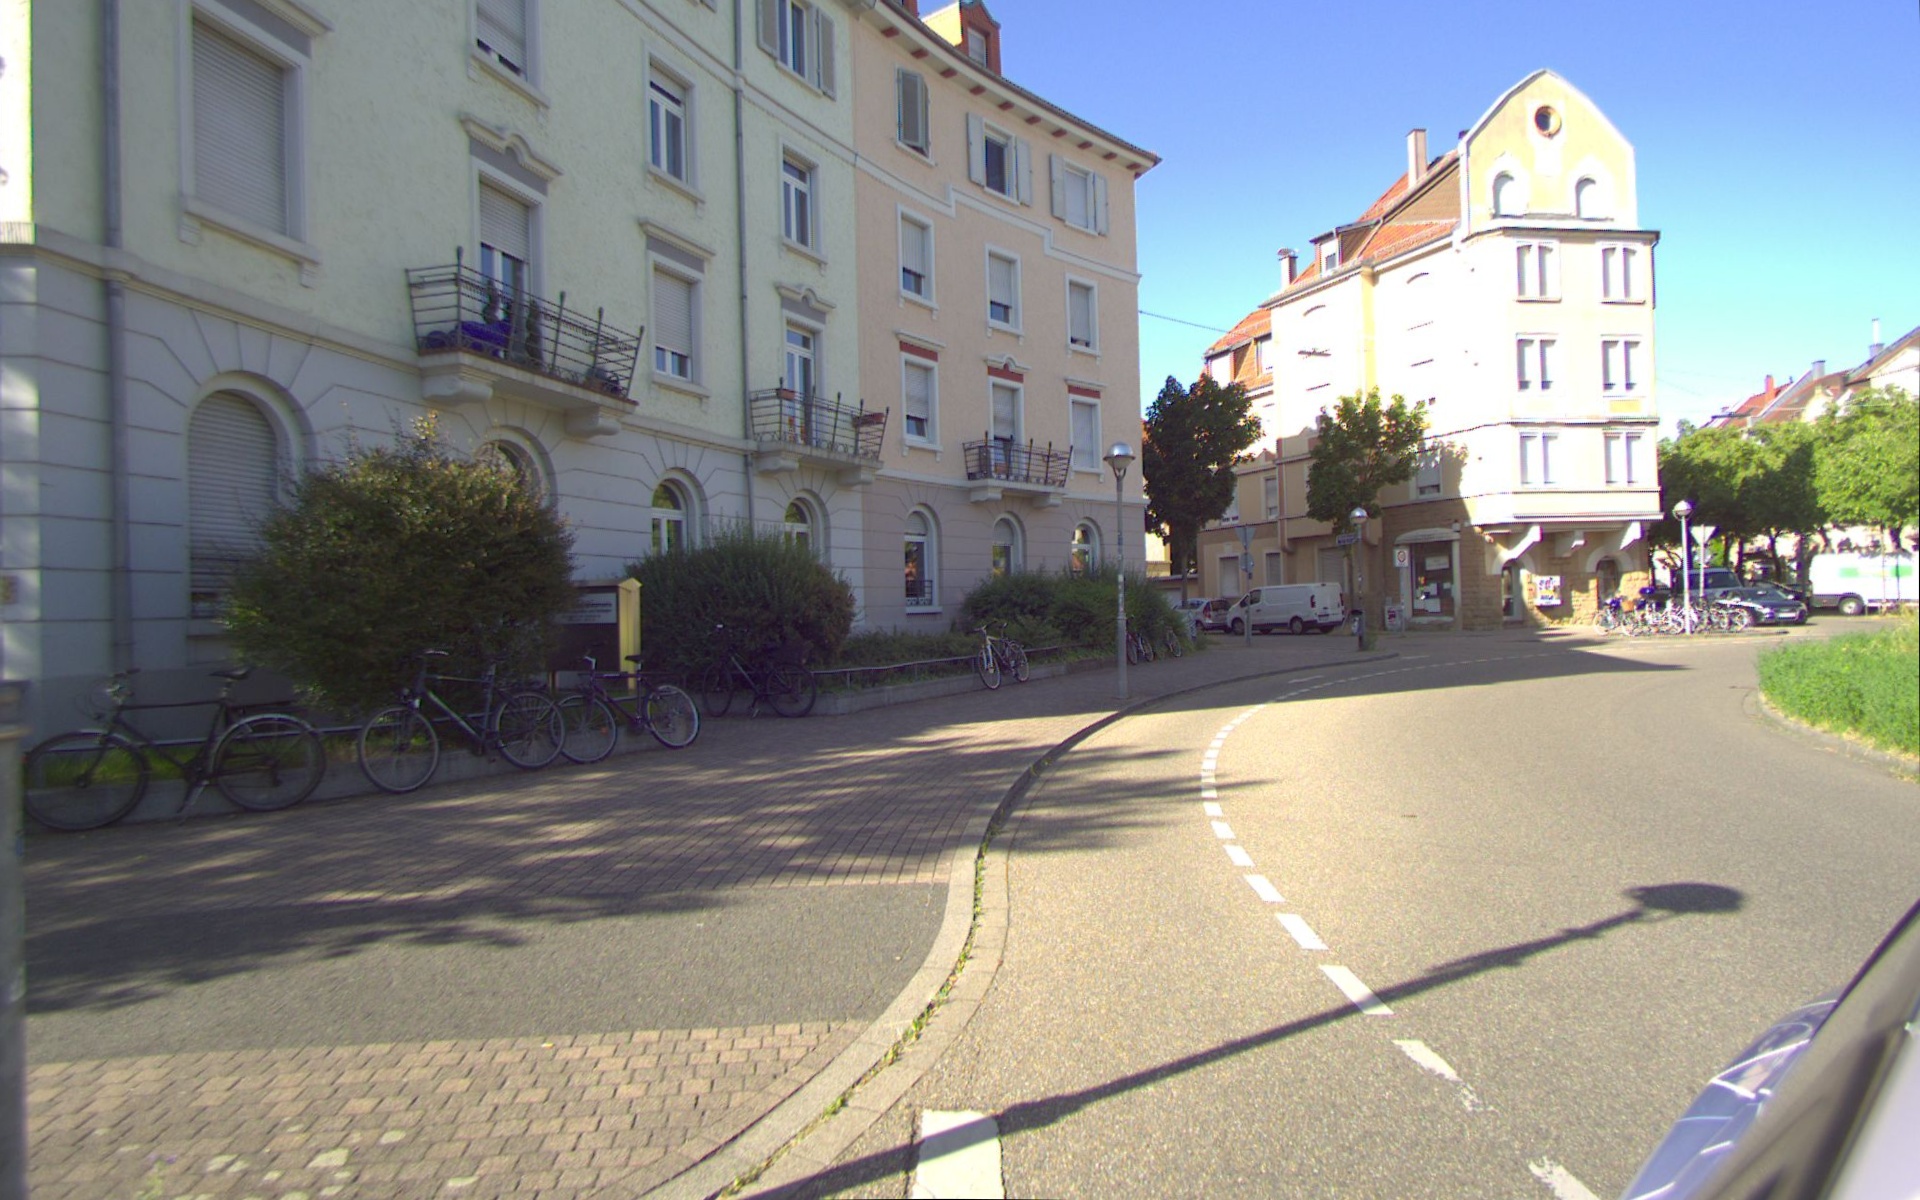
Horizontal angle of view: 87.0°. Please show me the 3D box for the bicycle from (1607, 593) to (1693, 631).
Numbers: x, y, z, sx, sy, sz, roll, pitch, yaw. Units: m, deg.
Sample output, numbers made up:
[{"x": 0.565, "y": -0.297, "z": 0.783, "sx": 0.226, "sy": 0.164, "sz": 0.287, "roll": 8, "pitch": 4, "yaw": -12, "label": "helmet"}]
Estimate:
[{"x": 20.683, "y": 0.364, "z": 30.386, "sx": 0.641, "sy": 1.066, "sz": 2.370, "roll": -2, "pitch": 0, "yaw": -9, "label": "bicycle"}]

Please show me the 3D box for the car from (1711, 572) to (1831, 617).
[{"x": 28.833, "y": -0.178, "z": 36.150, "sx": 1.973, "sy": 1.461, "sz": 3.977, "roll": -2, "pitch": 0, "yaw": 18, "label": "car"}]

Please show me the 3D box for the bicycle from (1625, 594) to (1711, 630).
[{"x": 21.357, "y": 0.367, "z": 30.600, "sx": 0.641, "sy": 1.028, "sz": 2.370, "roll": -1, "pitch": -1, "yaw": -9, "label": "bicycle"}]

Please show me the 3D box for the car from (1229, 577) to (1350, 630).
[{"x": 13.058, "y": 0.179, "z": 40.389, "sx": 1.860, "sy": 1.966, "sz": 4.452, "roll": -1, "pitch": -1, "yaw": -30, "label": "car"}]

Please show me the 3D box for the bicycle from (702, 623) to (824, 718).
[{"x": -2.523, "y": 0.897, "z": 12.946, "sx": 1.492, "sy": 1.169, "sz": 0.433, "roll": -2, "pitch": -1, "yaw": 20, "label": "bicycle"}]

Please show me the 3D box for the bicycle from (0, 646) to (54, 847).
[{"x": -6.749, "y": 0.968, "z": 6.411, "sx": 1.472, "sy": 1.254, "sz": 0.327, "roll": -3, "pitch": 0, "yaw": -16, "label": "bicycle"}]

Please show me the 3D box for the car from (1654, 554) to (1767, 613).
[{"x": 30.384, "y": -0.639, "z": 41.146, "sx": 2.225, "sy": 2.146, "sz": 4.772, "roll": -2, "pitch": 0, "yaw": 19, "label": "car"}]

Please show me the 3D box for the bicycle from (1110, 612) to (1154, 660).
[{"x": 3.823, "y": 0.783, "z": 22.428, "sx": 0.375, "sy": 1.008, "sz": 1.374, "roll": -2, "pitch": -1, "yaw": 35, "label": "bicycle"}]

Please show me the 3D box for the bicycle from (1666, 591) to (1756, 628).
[{"x": 22.763, "y": 0.283, "z": 30.738, "sx": 0.641, "sy": 1.066, "sz": 2.370, "roll": -2, "pitch": 0, "yaw": -9, "label": "bicycle"}]

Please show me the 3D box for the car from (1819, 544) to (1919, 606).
[{"x": 38.259, "y": -1.018, "z": 40.700, "sx": 1.997, "sy": 2.392, "sz": 5.197, "roll": -1, "pitch": -1, "yaw": -30, "label": "car"}]

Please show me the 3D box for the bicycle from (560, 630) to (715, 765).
[{"x": -3.120, "y": 0.904, "z": 9.943, "sx": 0.363, "sy": 1.163, "sz": 1.621, "roll": -2, "pitch": -1, "yaw": 29, "label": "bicycle"}]

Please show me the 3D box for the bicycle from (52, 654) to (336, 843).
[{"x": -5.345, "y": 0.999, "z": 7.163, "sx": 1.541, "sy": 1.117, "sz": 0.352, "roll": -3, "pitch": 0, "yaw": -31, "label": "bicycle"}]

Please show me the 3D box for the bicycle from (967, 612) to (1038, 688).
[{"x": 0.721, "y": 0.805, "z": 16.832, "sx": 0.432, "sy": 1.169, "sz": 1.651, "roll": -1, "pitch": 0, "yaw": 31, "label": "bicycle"}]

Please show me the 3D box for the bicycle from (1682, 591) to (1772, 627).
[{"x": 23.454, "y": 0.277, "z": 30.997, "sx": 0.641, "sy": 1.066, "sz": 2.370, "roll": -2, "pitch": 0, "yaw": -9, "label": "bicycle"}]

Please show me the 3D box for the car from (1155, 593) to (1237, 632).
[{"x": 10.454, "y": 0.558, "z": 44.979, "sx": 1.654, "sy": 1.596, "sz": 3.549, "roll": -2, "pitch": -1, "yaw": -26, "label": "car"}]

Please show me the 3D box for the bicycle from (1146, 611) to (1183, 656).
[{"x": 4.885, "y": 0.782, "z": 24.100, "sx": 0.375, "sy": 1.008, "sz": 1.375, "roll": -2, "pitch": -1, "yaw": 32, "label": "bicycle"}]

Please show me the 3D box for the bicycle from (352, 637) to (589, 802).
[{"x": -4.007, "y": 0.927, "z": 8.420, "sx": 0.442, "sy": 1.163, "sz": 1.755, "roll": -2, "pitch": -1, "yaw": 37, "label": "bicycle"}]

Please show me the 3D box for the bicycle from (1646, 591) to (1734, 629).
[{"x": 22.075, "y": 0.303, "z": 30.669, "sx": 0.641, "sy": 1.066, "sz": 2.370, "roll": -1, "pitch": -1, "yaw": -9, "label": "bicycle"}]

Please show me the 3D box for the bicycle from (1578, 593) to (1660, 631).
[{"x": 19.758, "y": 0.365, "z": 30.420, "sx": 0.641, "sy": 1.066, "sz": 2.370, "roll": 1, "pitch": -1, "yaw": -9, "label": "bicycle"}]
